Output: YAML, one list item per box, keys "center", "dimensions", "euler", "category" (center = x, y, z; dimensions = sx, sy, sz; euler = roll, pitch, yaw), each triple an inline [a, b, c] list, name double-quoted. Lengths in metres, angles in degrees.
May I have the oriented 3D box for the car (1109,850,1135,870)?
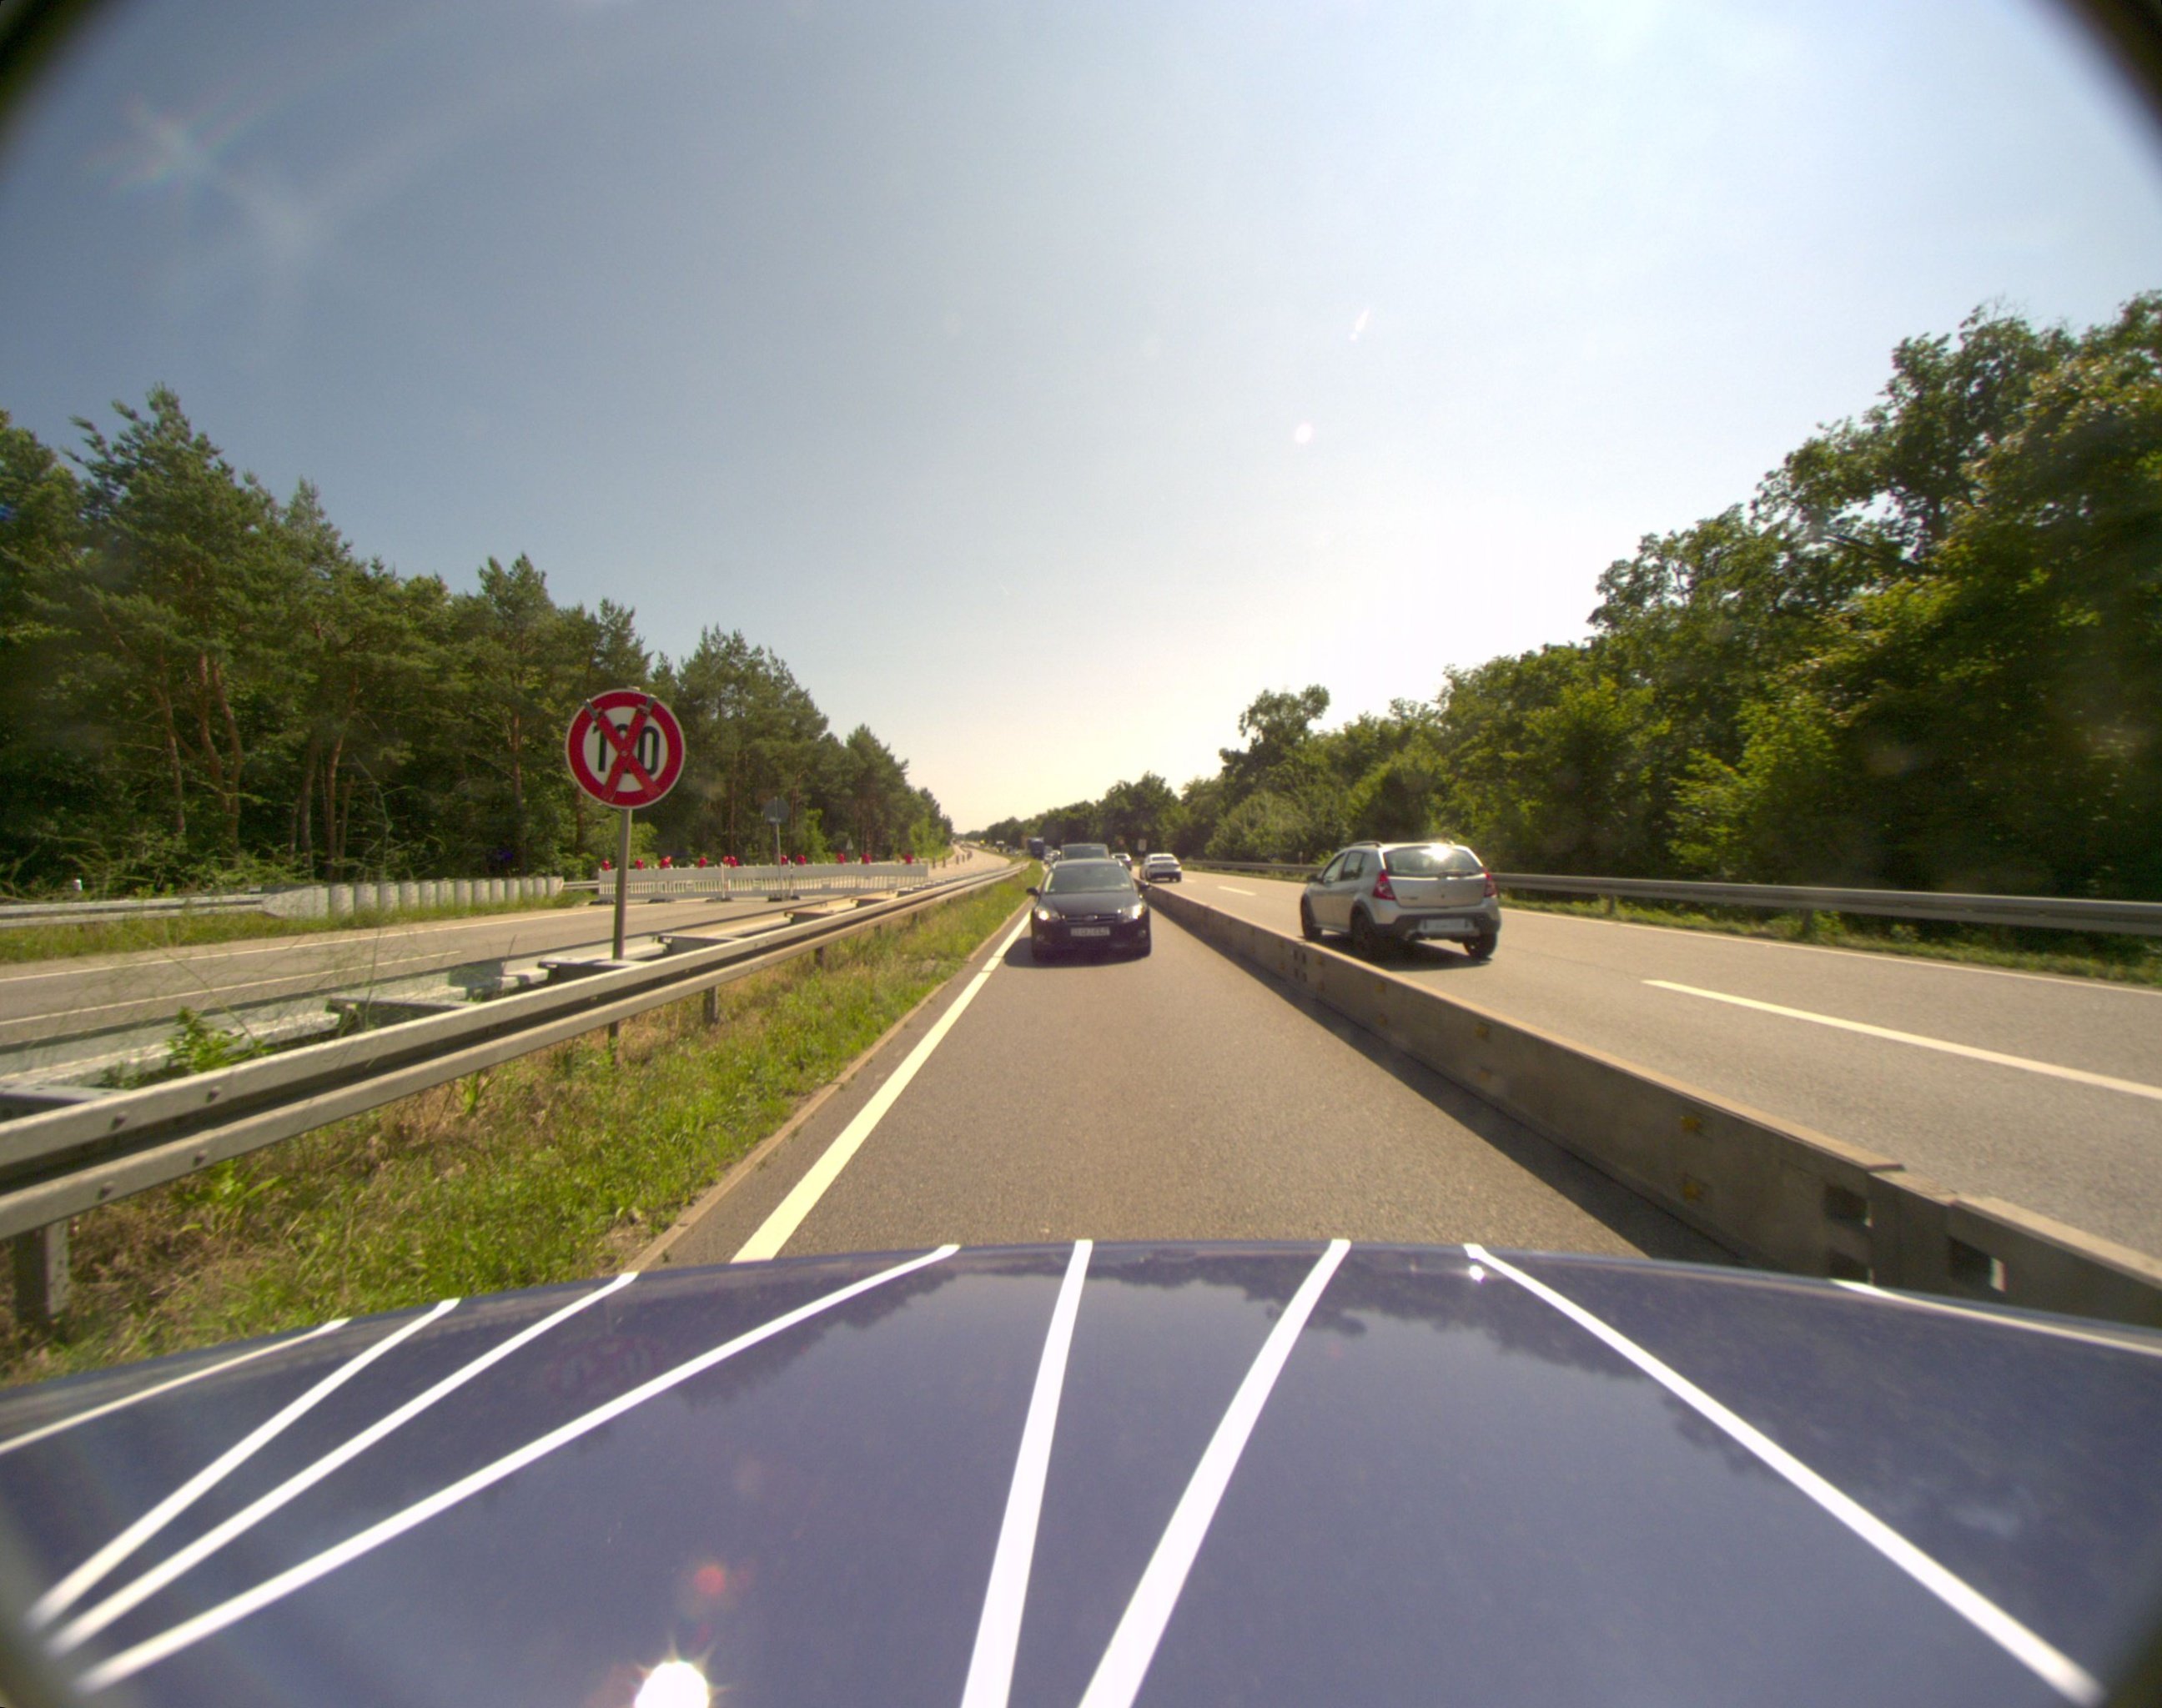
- center: [3.364, 0.473, 62.624]
  dimensions: [1.729, 1.487, 4.387]
  euler: [-2, 0, -2]
  category: "car"

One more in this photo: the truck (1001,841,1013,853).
- center: [-25.587, -2.414, 262.969]
  dimensions: [3.830, 4.265, 11.241]
  euler: [-1, 0, -4]
  category: "truck"

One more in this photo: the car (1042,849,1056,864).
- center: [-3.773, 0.264, 88.663]
  dimensions: [1.527, 1.647, 3.979]
  euler: [-1, 0, -4]
  category: "car"

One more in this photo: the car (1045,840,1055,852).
- center: [-6.832, -1.763, 167.357]
  dimensions: [2.067, 2.471, 5.558]
  euler: [-2, 1, -2]
  category: "car"

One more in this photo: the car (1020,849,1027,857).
- center: [-12.833, -0.304, 170.278]
  dimensions: [1.527, 1.647, 3.978]
  euler: [-3, 1, -4]
  category: "car"

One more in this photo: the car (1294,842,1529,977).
- center: [4.548, 0.657, 11.134]
  dimensions: [1.833, 1.620, 3.784]
  euler: [-1, 1, 1]
  category: "car"

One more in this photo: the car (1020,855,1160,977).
- center: [0.088, 0.847, 12.853]
  dimensions: [1.847, 1.537, 4.934]
  euler: [-2, 1, -1]
  category: "car"

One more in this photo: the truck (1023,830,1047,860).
- center: [-8.545, -1.682, 139.801]
  dimensions: [3.831, 5.266, 11.240]
  euler: [-1, 0, -5]
  category: "truck"

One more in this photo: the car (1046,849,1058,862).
- center: [-3.960, 0.216, 102.981]
  dimensions: [1.527, 1.647, 3.752]
  euler: [0, 0, -4]
  category: "car"

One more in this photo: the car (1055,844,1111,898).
- center: [0.026, 0.584, 29.626]
  dimensions: [1.960, 1.901, 4.934]
  euler: [-1, 0, -1]
  category: "car"

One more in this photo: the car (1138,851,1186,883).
- center: [4.157, 0.627, 39.577]
  dimensions: [1.954, 1.530, 4.435]
  euler: [-2, 0, 0]
  category: "car"
